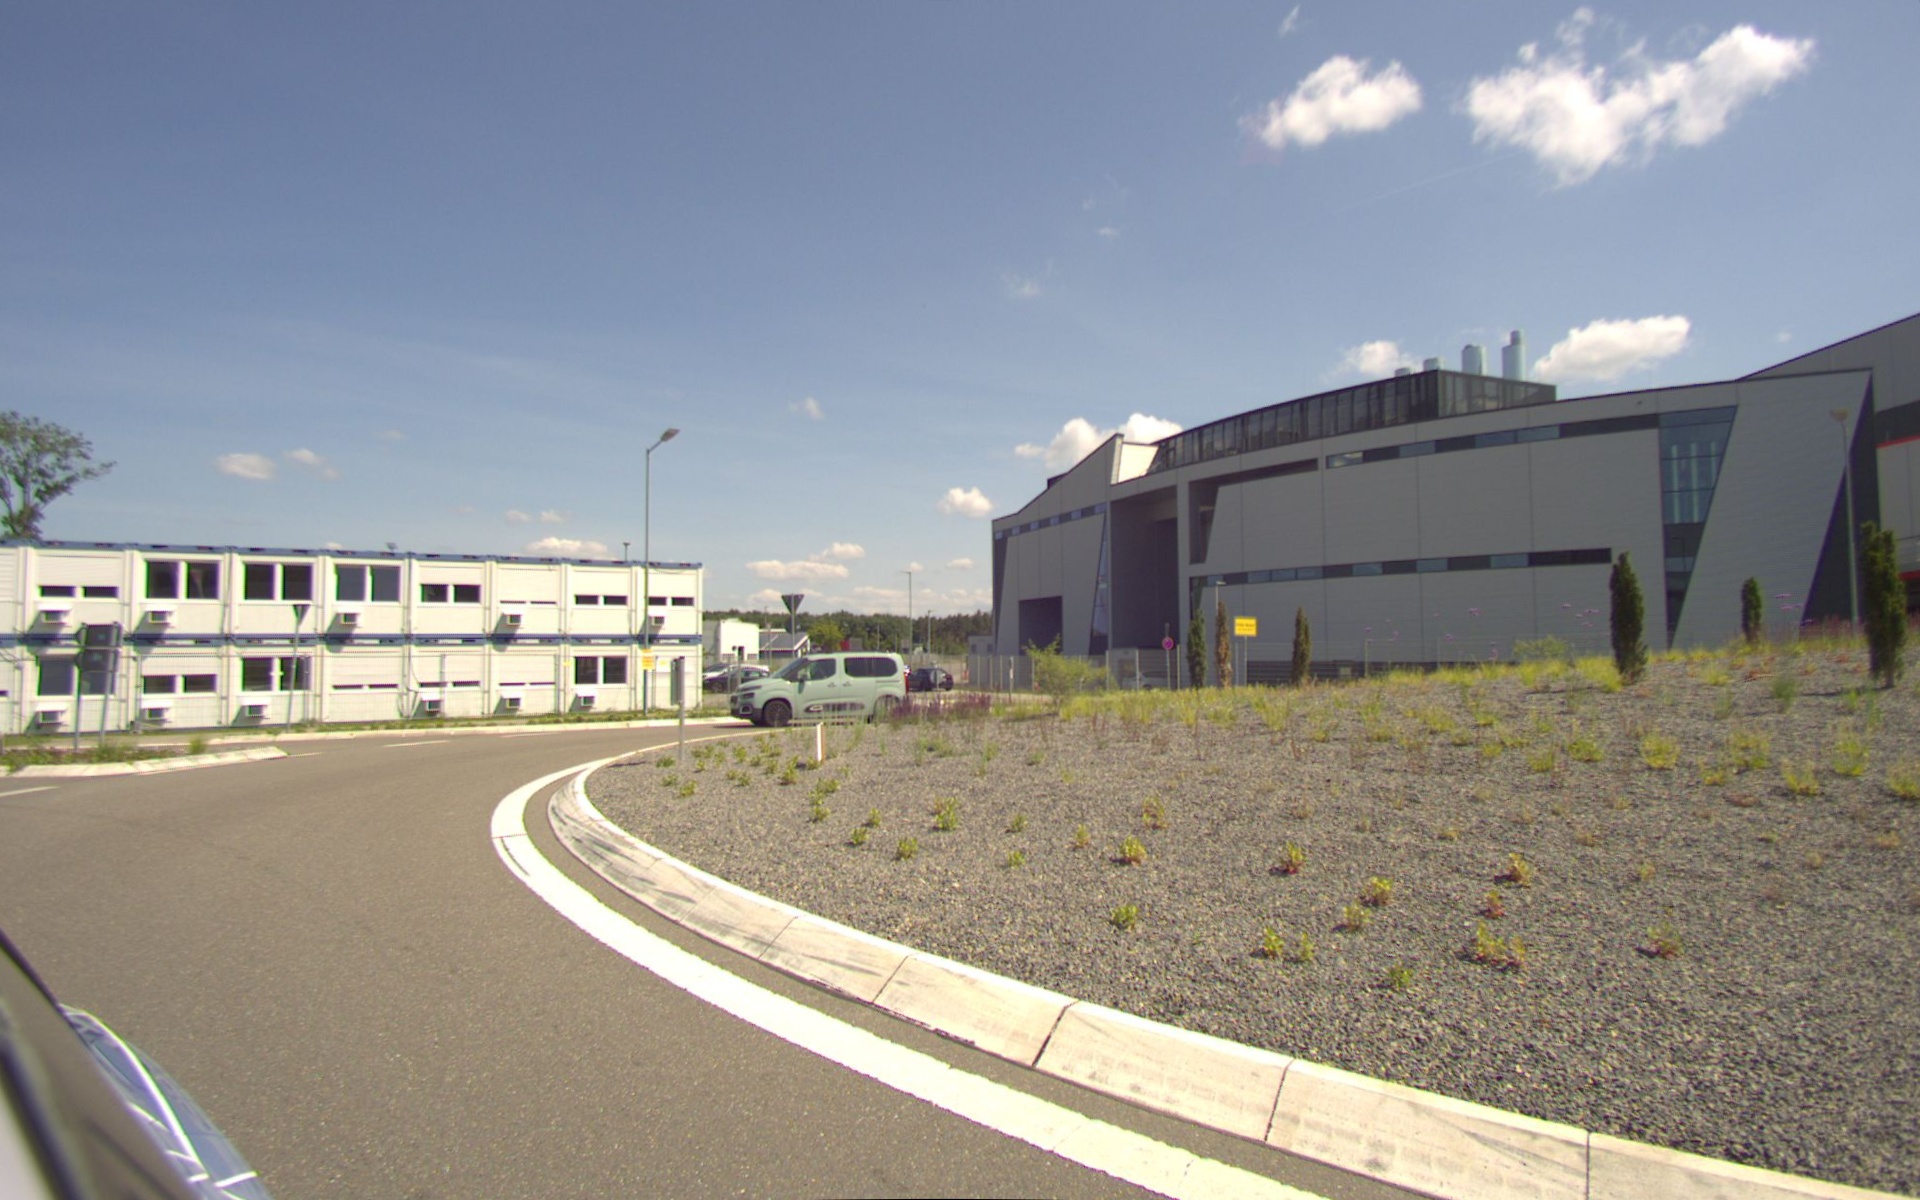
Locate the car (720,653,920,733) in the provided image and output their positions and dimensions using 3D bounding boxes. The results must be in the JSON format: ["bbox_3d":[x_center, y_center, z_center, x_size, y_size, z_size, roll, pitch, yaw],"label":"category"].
[{"bbox_3d":[-3.449,2.233,24.945,4.481,1.793,2.006,1,-4,-24],"label":"car"}]

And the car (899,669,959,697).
[{"bbox_3d":[-1.913,5.006,61.384,1.965,1.561,4.327,1,-3,-27],"label":"car"}]

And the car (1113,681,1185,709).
[{"bbox_3d":[12.412,6.199,66.310,4.239,1.703,2.006,1,-3,-25],"label":"car"}]

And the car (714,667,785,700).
[{"bbox_3d":[-12.982,5.109,62.400,4.242,1.881,2.005,0,-3,-13],"label":"car"}]

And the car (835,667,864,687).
[{"bbox_3d":[-9.258,6.409,84.490,1.967,1.561,4.323,0,-3,-11],"label":"car"}]

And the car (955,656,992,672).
[{"bbox_3d":[1.704,8.011,126.879,4.239,1.881,2.006,1,-3,-25],"label":"car"}]

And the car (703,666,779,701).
[{"bbox_3d":[-12.681,4.794,58.525,4.242,1.881,2.005,0,-3,-13],"label":"car"}]

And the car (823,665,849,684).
[{"bbox_3d":[-10.972,6.531,89.282,1.967,1.561,4.323,0,-3,-11],"label":"car"}]

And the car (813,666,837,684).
[{"bbox_3d":[-12.637,6.957,94.627,1.967,1.561,4.323,0,-3,-11],"label":"car"}]
